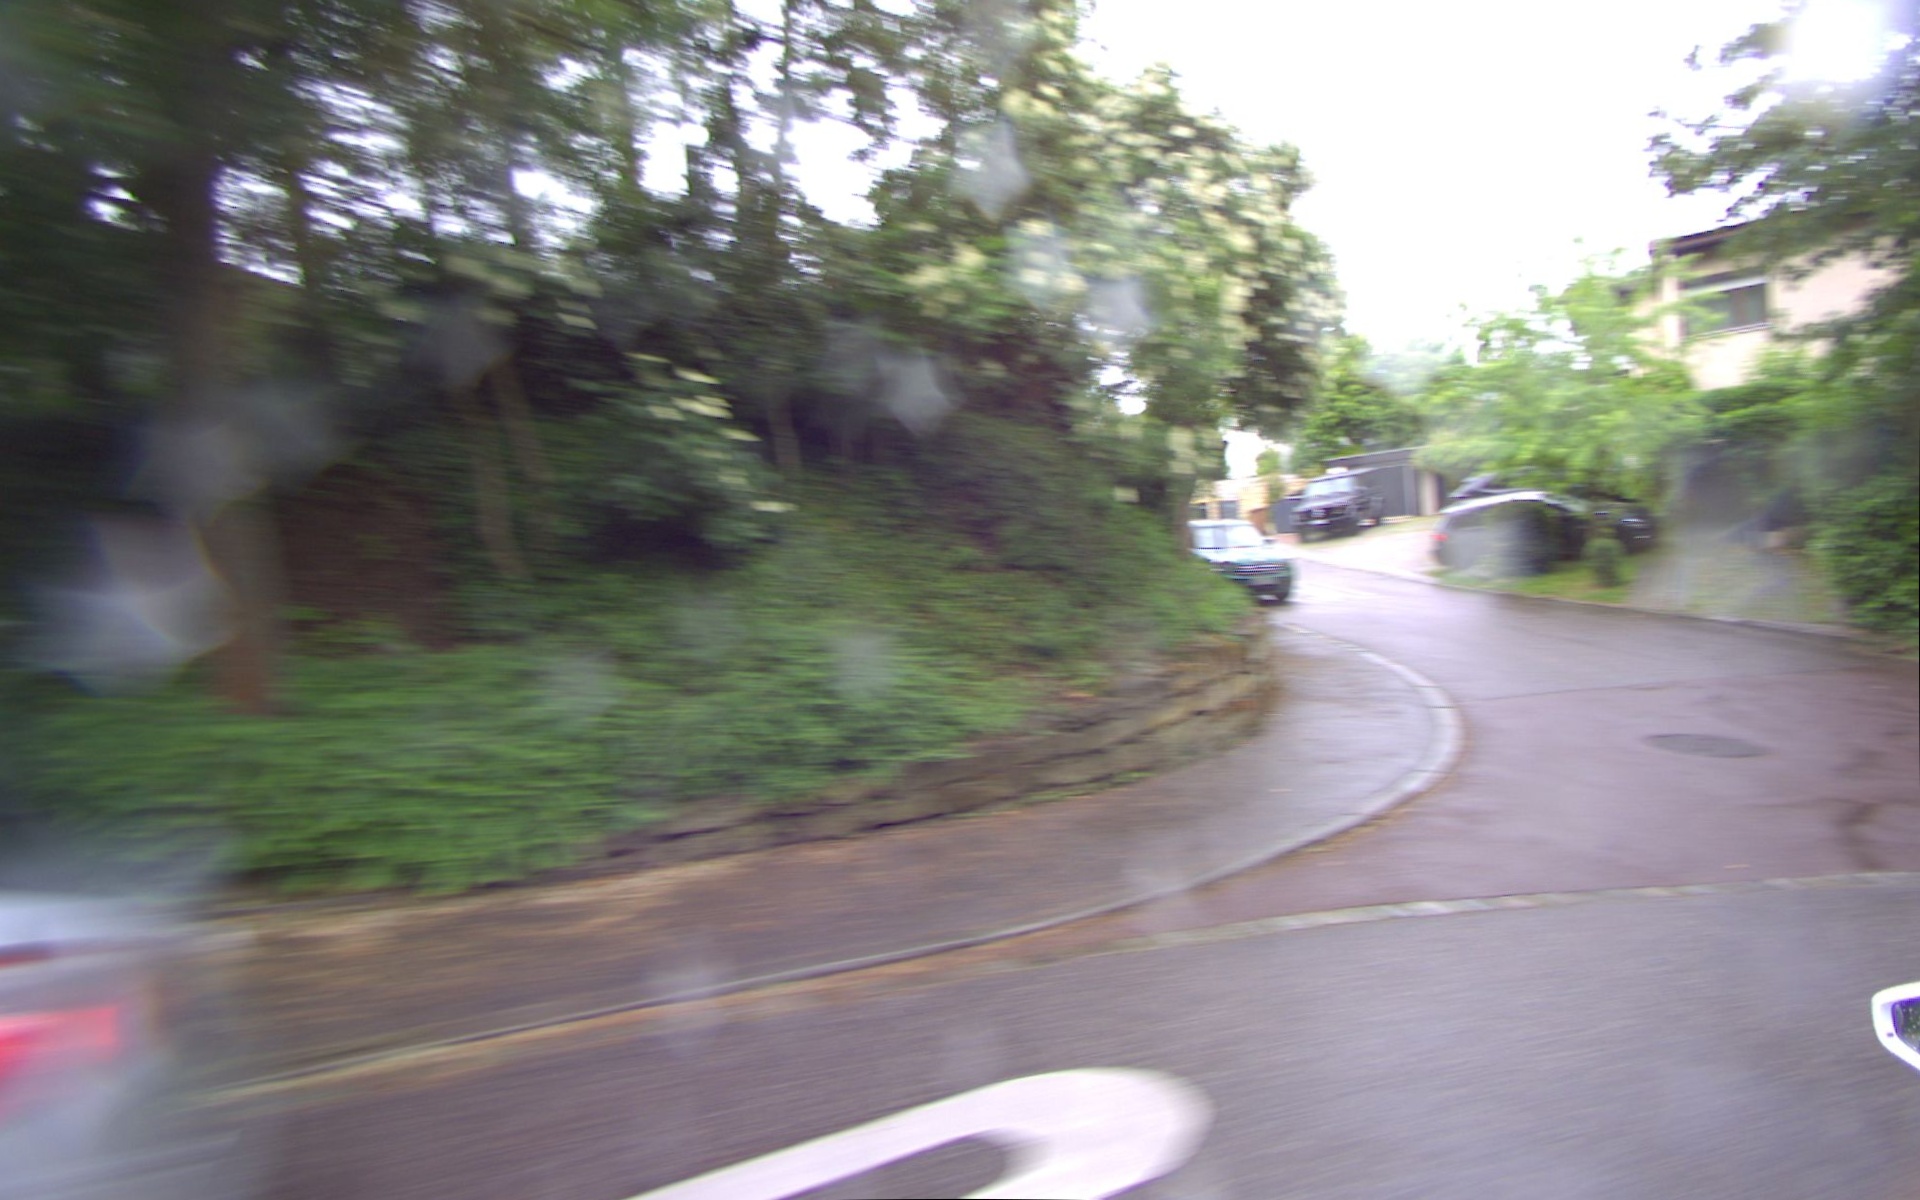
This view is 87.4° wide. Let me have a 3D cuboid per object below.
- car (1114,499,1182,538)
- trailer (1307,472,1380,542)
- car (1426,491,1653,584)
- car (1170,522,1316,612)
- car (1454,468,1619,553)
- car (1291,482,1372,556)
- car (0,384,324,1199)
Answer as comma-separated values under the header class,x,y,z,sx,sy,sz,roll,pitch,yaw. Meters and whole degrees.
class,x,y,z,sx,sy,sz,roll,pitch,yaw
car,9.200,-3.988,49.396,1.779,1.774,3.988,1,4,-13
trailer,13.887,-3.400,36.198,1.861,1.802,3.994,-8,7,28
car,12.207,-1.291,21.243,3.937,1.436,1.692,-4,7,37
car,5.718,-0.773,20.801,1.802,1.482,3.998,-4,6,0
car,14.604,-2.238,25.490,3.356,1.596,1.586,-3,12,39
car,12.140,-2.686,32.659,1.861,1.636,3.994,-8,7,28
car,-2.809,0.519,0.612,4.077,1.558,1.662,1,3,-33
